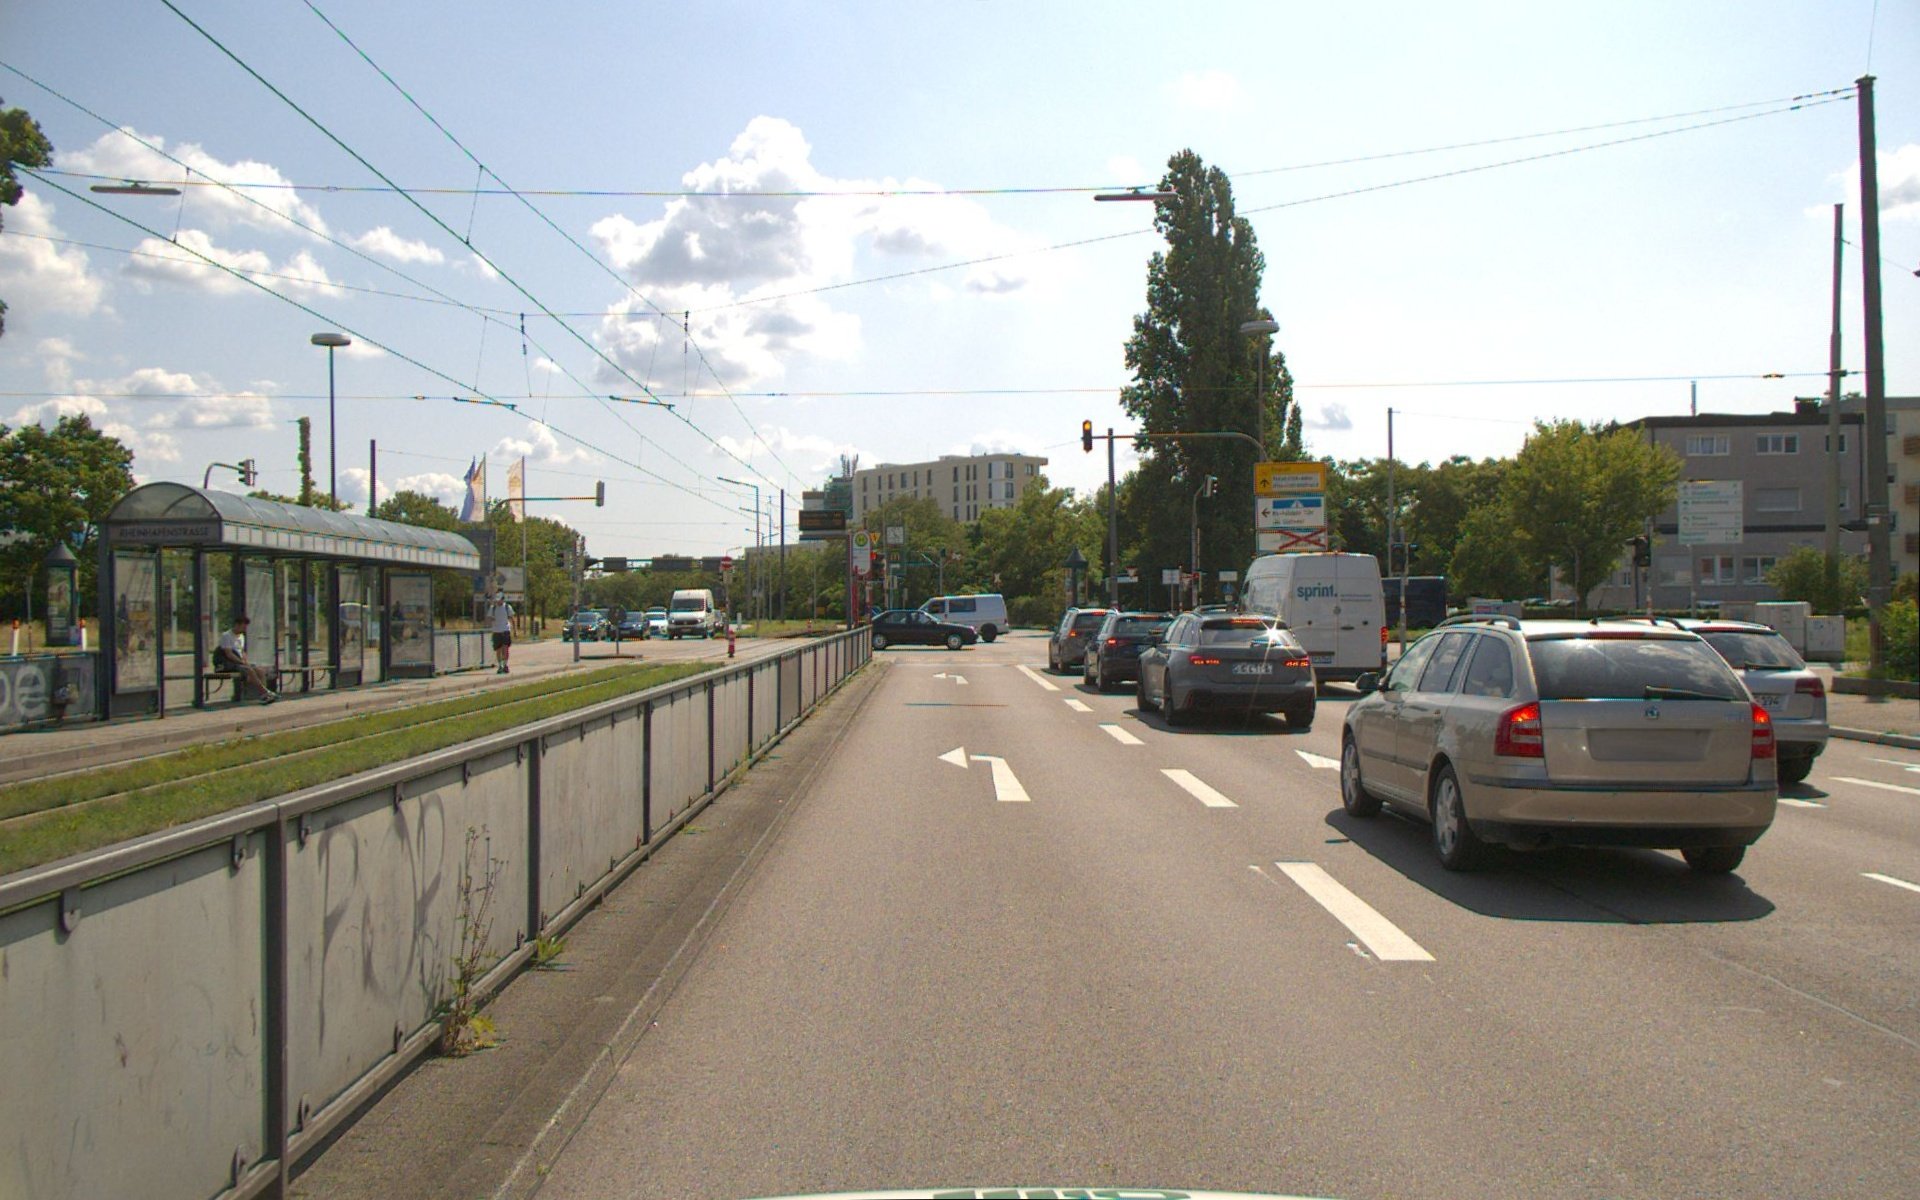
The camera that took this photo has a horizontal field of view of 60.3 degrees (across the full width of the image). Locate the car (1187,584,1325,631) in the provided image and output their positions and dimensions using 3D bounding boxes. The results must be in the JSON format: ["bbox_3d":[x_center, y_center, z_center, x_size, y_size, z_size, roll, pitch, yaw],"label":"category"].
[{"bbox_3d":[10.322,0.252,57.975,4.576,1.576,2.001,0,0,4],"label":"car"}]

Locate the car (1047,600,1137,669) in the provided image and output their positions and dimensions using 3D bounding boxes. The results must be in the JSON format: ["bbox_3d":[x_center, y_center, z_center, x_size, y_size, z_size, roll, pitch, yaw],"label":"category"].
[{"bbox_3d":[3.080,0.782,39.325,1.709,1.525,4.378,1,0,-1],"label":"car"}]

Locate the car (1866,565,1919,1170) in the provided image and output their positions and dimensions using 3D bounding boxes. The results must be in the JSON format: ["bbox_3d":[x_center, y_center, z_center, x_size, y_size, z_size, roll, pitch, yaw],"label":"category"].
[{"bbox_3d":[3.233,0.701,2.578,1.749,1.604,4.097,0,0,6],"label":"car"}]

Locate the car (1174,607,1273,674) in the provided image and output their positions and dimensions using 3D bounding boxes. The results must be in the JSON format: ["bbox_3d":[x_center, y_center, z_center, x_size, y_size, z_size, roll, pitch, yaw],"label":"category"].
[{"bbox_3d":[6.218,0.926,39.427,1.709,1.473,4.380,1,0,1],"label":"car"}]

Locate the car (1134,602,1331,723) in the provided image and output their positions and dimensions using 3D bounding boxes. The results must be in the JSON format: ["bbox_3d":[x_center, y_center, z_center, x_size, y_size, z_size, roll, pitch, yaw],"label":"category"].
[{"bbox_3d":[3.638,0.789,22.971,1.849,1.473,4.827,1,0,-1],"label":"car"}]

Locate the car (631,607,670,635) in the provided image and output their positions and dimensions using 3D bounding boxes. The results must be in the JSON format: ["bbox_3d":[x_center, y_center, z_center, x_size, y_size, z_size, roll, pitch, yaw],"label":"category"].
[{"bbox_3d":[-17.754,1.193,95.001,1.767,1.568,4.160,1,-1,-4],"label":"car"}]

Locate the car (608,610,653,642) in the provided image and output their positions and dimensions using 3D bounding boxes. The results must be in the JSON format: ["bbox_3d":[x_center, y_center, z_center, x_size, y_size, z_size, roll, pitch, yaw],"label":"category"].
[{"bbox_3d":[-17.192,1.356,86.411,1.859,1.568,3.725,1,-1,-5],"label":"car"}]

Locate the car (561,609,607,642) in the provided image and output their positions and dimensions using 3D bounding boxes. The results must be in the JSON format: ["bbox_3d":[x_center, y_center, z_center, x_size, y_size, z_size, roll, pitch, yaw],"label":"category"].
[{"bbox_3d":[-20.095,1.368,88.545,1.826,1.680,3.996,1,-1,-5],"label":"car"}]

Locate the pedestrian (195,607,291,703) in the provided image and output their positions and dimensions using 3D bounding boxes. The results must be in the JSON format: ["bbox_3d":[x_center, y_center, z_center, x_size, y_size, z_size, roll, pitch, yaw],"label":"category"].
[{"bbox_3d":[-10.792,0.817,24.928,1.037,1.400,0.860,1,-1,-1],"label":"pedestrian"}]

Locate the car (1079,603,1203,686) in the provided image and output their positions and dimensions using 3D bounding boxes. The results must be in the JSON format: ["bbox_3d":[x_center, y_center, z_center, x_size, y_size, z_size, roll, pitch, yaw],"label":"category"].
[{"bbox_3d":[3.353,0.797,31.364,1.831,1.444,4.099,1,0,-1],"label":"car"}]

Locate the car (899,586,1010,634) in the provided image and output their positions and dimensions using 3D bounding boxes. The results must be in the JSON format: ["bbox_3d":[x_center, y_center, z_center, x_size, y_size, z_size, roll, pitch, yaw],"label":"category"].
[{"bbox_3d":[-0.233,0.430,69.768,4.581,1.970,2.000,0,0,-1],"label":"car"}]

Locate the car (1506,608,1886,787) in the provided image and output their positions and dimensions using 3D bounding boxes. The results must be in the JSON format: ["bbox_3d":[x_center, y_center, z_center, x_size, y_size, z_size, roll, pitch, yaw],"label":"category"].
[{"bbox_3d":[7.107,0.853,16.551,1.816,1.518,4.536,1,0,1],"label":"car"}]

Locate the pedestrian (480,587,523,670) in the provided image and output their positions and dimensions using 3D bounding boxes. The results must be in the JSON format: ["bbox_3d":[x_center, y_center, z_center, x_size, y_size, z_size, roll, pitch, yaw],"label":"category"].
[{"bbox_3d":[-10.143,0.622,36.604,0.791,1.826,0.708,0,-1,-3],"label":"pedestrian"}]

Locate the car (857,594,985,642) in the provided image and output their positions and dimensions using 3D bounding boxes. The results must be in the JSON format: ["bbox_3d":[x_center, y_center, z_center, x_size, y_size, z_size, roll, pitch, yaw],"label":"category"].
[{"bbox_3d":[-1.360,0.644,57.937,4.369,1.540,2.000,1,-1,-1],"label":"car"}]

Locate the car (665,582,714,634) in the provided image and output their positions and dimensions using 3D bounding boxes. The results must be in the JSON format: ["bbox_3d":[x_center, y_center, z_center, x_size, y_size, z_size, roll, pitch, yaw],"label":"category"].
[{"bbox_3d":[-14.224,0.446,87.242,1.954,2.651,4.875,1,-1,-3],"label":"car"}]

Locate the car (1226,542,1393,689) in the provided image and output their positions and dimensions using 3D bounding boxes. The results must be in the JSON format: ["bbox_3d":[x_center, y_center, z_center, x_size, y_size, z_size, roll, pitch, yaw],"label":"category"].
[{"bbox_3d":[6.603,0.288,31.863,1.999,2.602,5.229,0,0,-1],"label":"car"}]

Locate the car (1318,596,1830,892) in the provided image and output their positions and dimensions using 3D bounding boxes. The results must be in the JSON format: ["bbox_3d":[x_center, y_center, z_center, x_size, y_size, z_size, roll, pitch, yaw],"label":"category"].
[{"bbox_3d":[3.702,0.761,10.934,1.703,1.518,4.630,1,0,1],"label":"car"}]
